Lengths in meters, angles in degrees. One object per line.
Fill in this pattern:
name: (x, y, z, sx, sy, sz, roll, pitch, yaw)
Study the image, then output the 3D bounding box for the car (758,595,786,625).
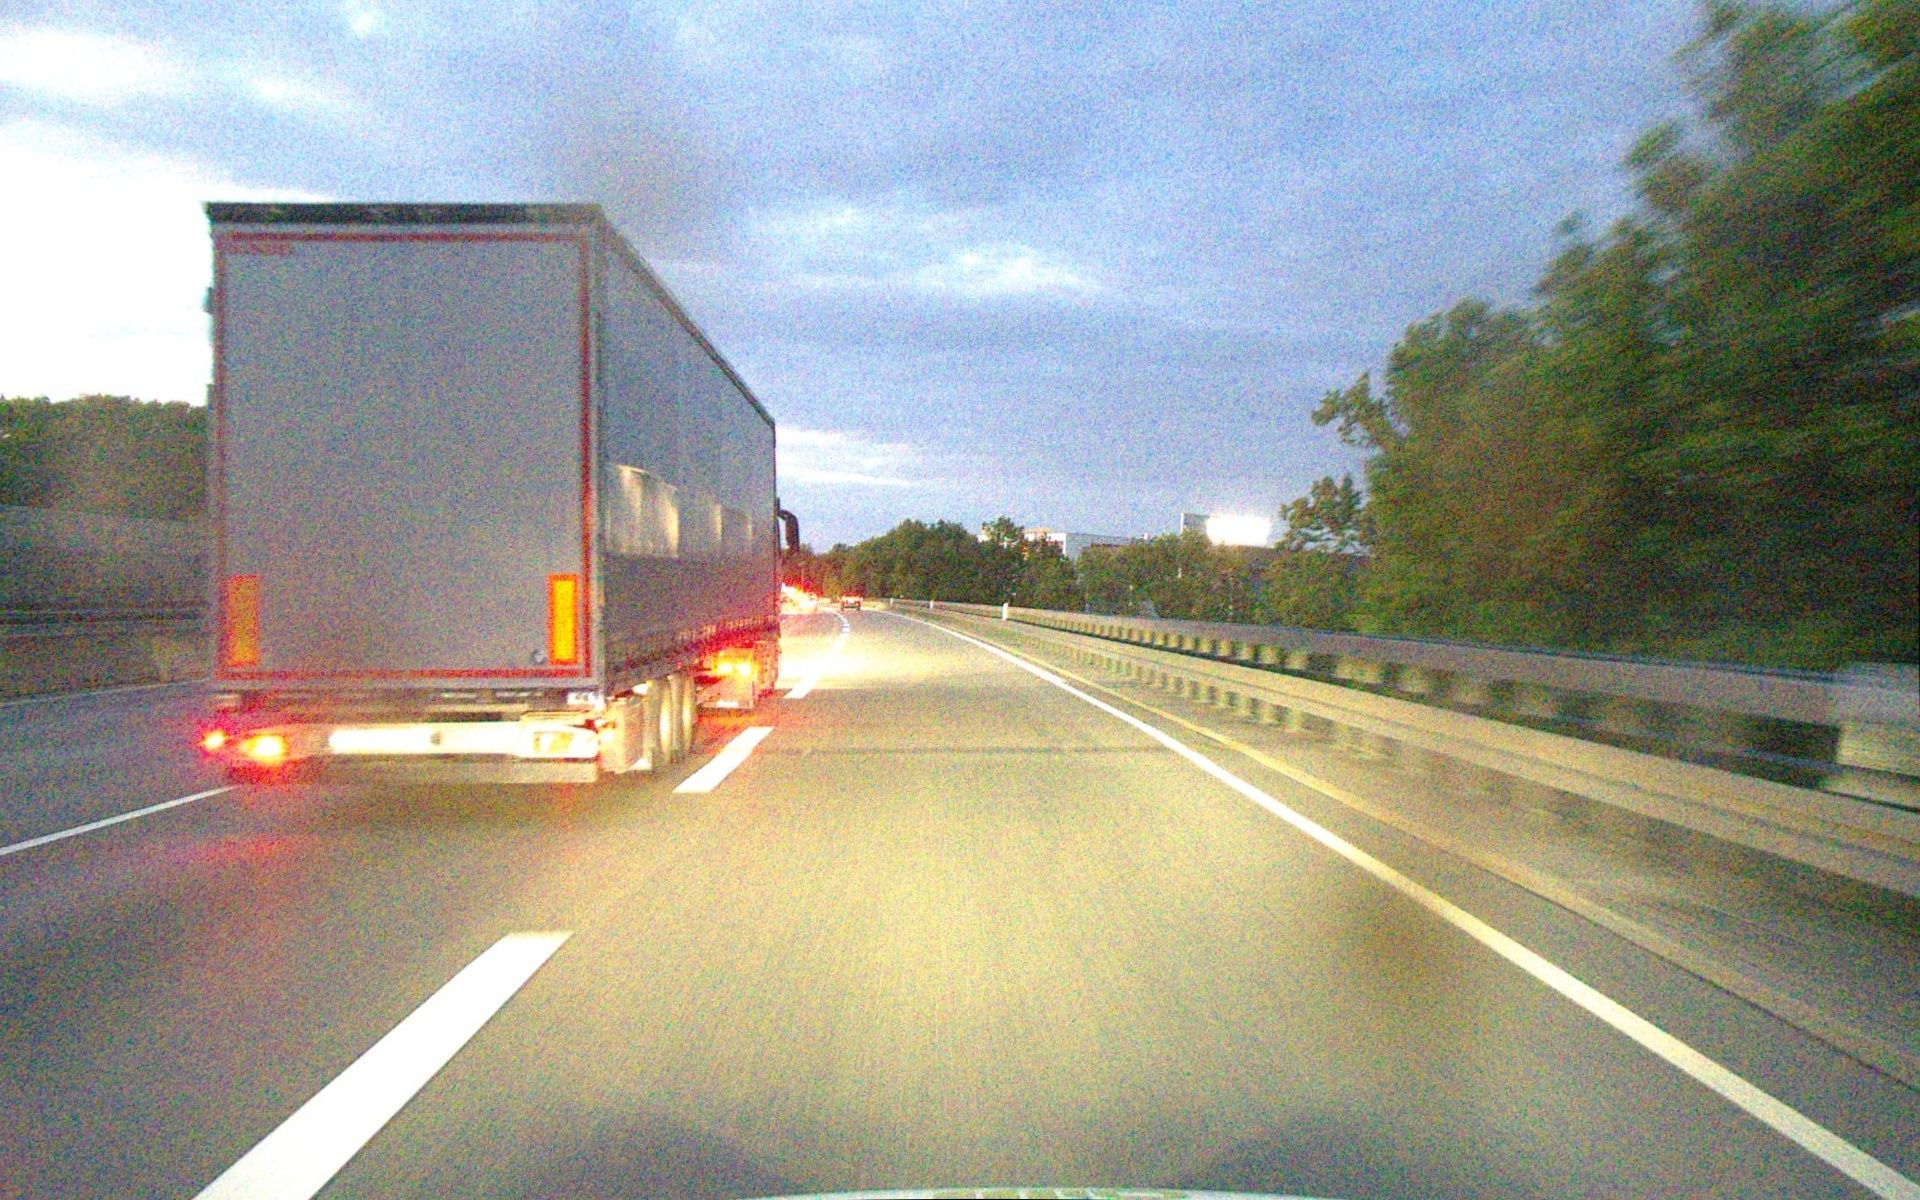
car: (-14.468, 0.788, 127.710, 1.954, 2.116, 3.995, 1, -3, -5)

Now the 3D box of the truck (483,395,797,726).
truck: (-4.325, -0.439, 23.946, 3.479, 4.163, 6.148, 0, -1, -2)

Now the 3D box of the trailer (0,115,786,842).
trailer: (-4.095, -0.555, 17.104, 3.479, 4.189, 15.055, 0, -1, -2)

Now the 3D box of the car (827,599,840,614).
car: (-19.754, 0.984, 258.134, 1.954, 2.049, 3.995, 1, -3, -5)

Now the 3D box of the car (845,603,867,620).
car: (-9.993, 1.141, 158.655, 1.954, 1.378, 3.995, 1, -3, -5)

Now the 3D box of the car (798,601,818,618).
car: (-14.419, 0.942, 156.939, 1.848, 1.378, 3.995, 1, -3, -5)
